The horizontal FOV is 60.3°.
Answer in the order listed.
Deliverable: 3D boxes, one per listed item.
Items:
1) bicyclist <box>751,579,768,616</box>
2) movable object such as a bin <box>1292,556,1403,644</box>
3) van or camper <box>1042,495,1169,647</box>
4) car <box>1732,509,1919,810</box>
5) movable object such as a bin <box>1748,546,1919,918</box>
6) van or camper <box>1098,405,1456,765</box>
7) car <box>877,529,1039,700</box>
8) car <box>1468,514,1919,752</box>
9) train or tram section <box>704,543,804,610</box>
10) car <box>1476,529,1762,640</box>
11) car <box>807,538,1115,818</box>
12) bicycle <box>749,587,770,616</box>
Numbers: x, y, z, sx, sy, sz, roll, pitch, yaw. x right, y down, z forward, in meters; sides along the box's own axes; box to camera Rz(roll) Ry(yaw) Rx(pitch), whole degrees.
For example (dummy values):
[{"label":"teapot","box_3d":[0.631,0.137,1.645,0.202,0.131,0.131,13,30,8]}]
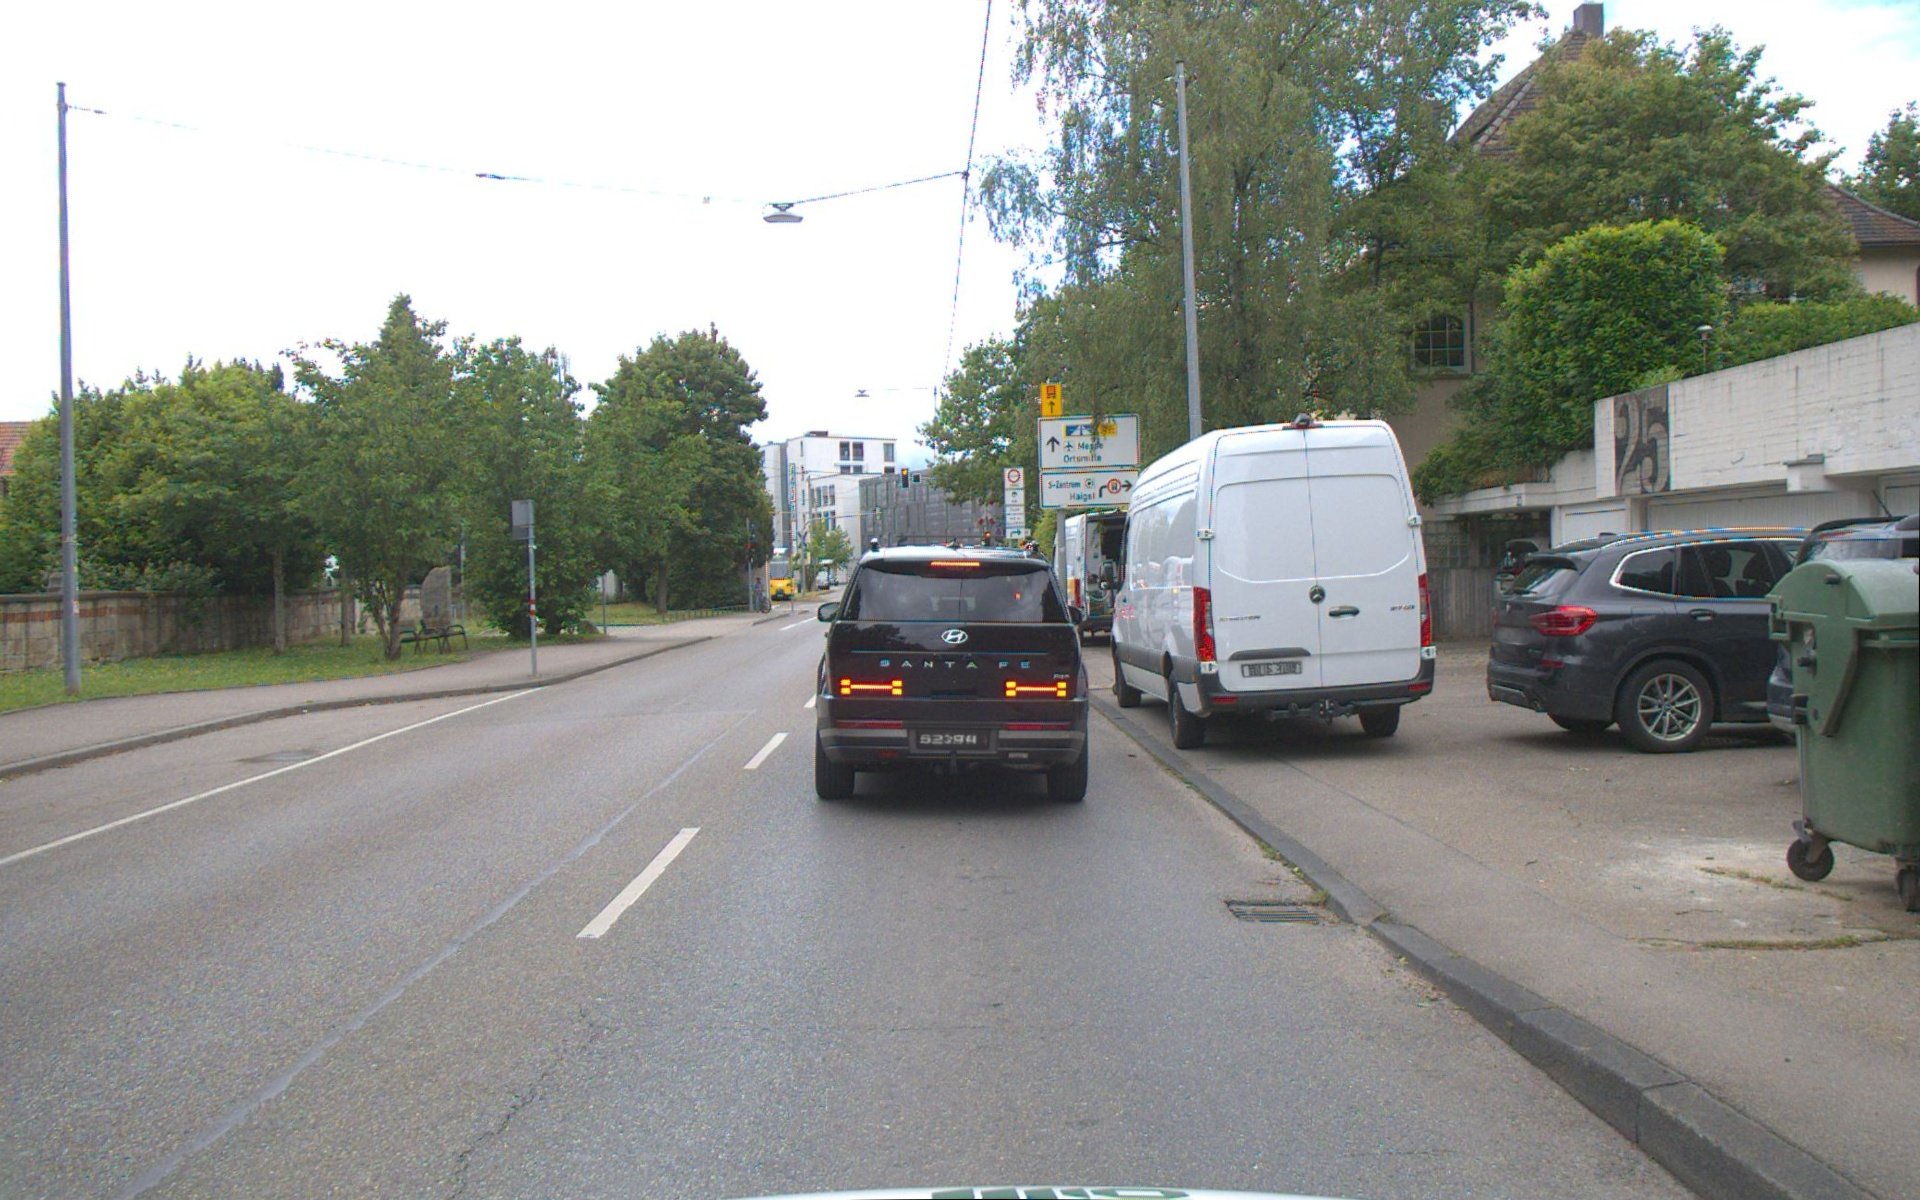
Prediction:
[{"label":"bicyclist","box_3d":[-9.381,-0.103,77.409,0.664,1.688,0.855,0,-1,-15]},{"label":"movable object such as a bin","box_3d":[6.798,-0.020,29.151,1.422,1.499,1.715,0,1,-6]},{"label":"van or camper","box_3d":[2.962,-0.608,34.864,1.924,2.845,5.285,-3,1,-2]},{"label":"car","box_3d":[7.020,0.253,10.118,3.719,1.681,1.830,-2,1,2]},{"label":"movable object such as a bin","box_3d":[4.379,0.498,7.203,1.273,1.476,1.180,-3,0,-1]},{"label":"van or camper","box_3d":[2.734,-0.166,16.033,1.924,2.673,6.357,-4,1,-2]},{"label":"car","box_3d":[-0.079,0.146,21.796,1.924,2.036,3.999,0,1,-2]},{"label":"car","box_3d":[6.552,0.205,13.368,4.304,1.681,1.830,-2,1,0]},{"label":"train or tram section","box_3d":[-16.067,-1.606,127.166,3.148,4.602,18.560,0,-1,-22]},{"label":"car","box_3d":[10.729,-0.266,27.124,3.908,1.741,1.969,0,1,-3]},{"label":"car","box_3d":[-0.050,0.456,12.370,1.924,1.741,3.999,0,1,-2]},{"label":"bicycle","box_3d":[-9.376,0.081,77.378,0.664,1.302,2.491,0,-1,-14]}]
